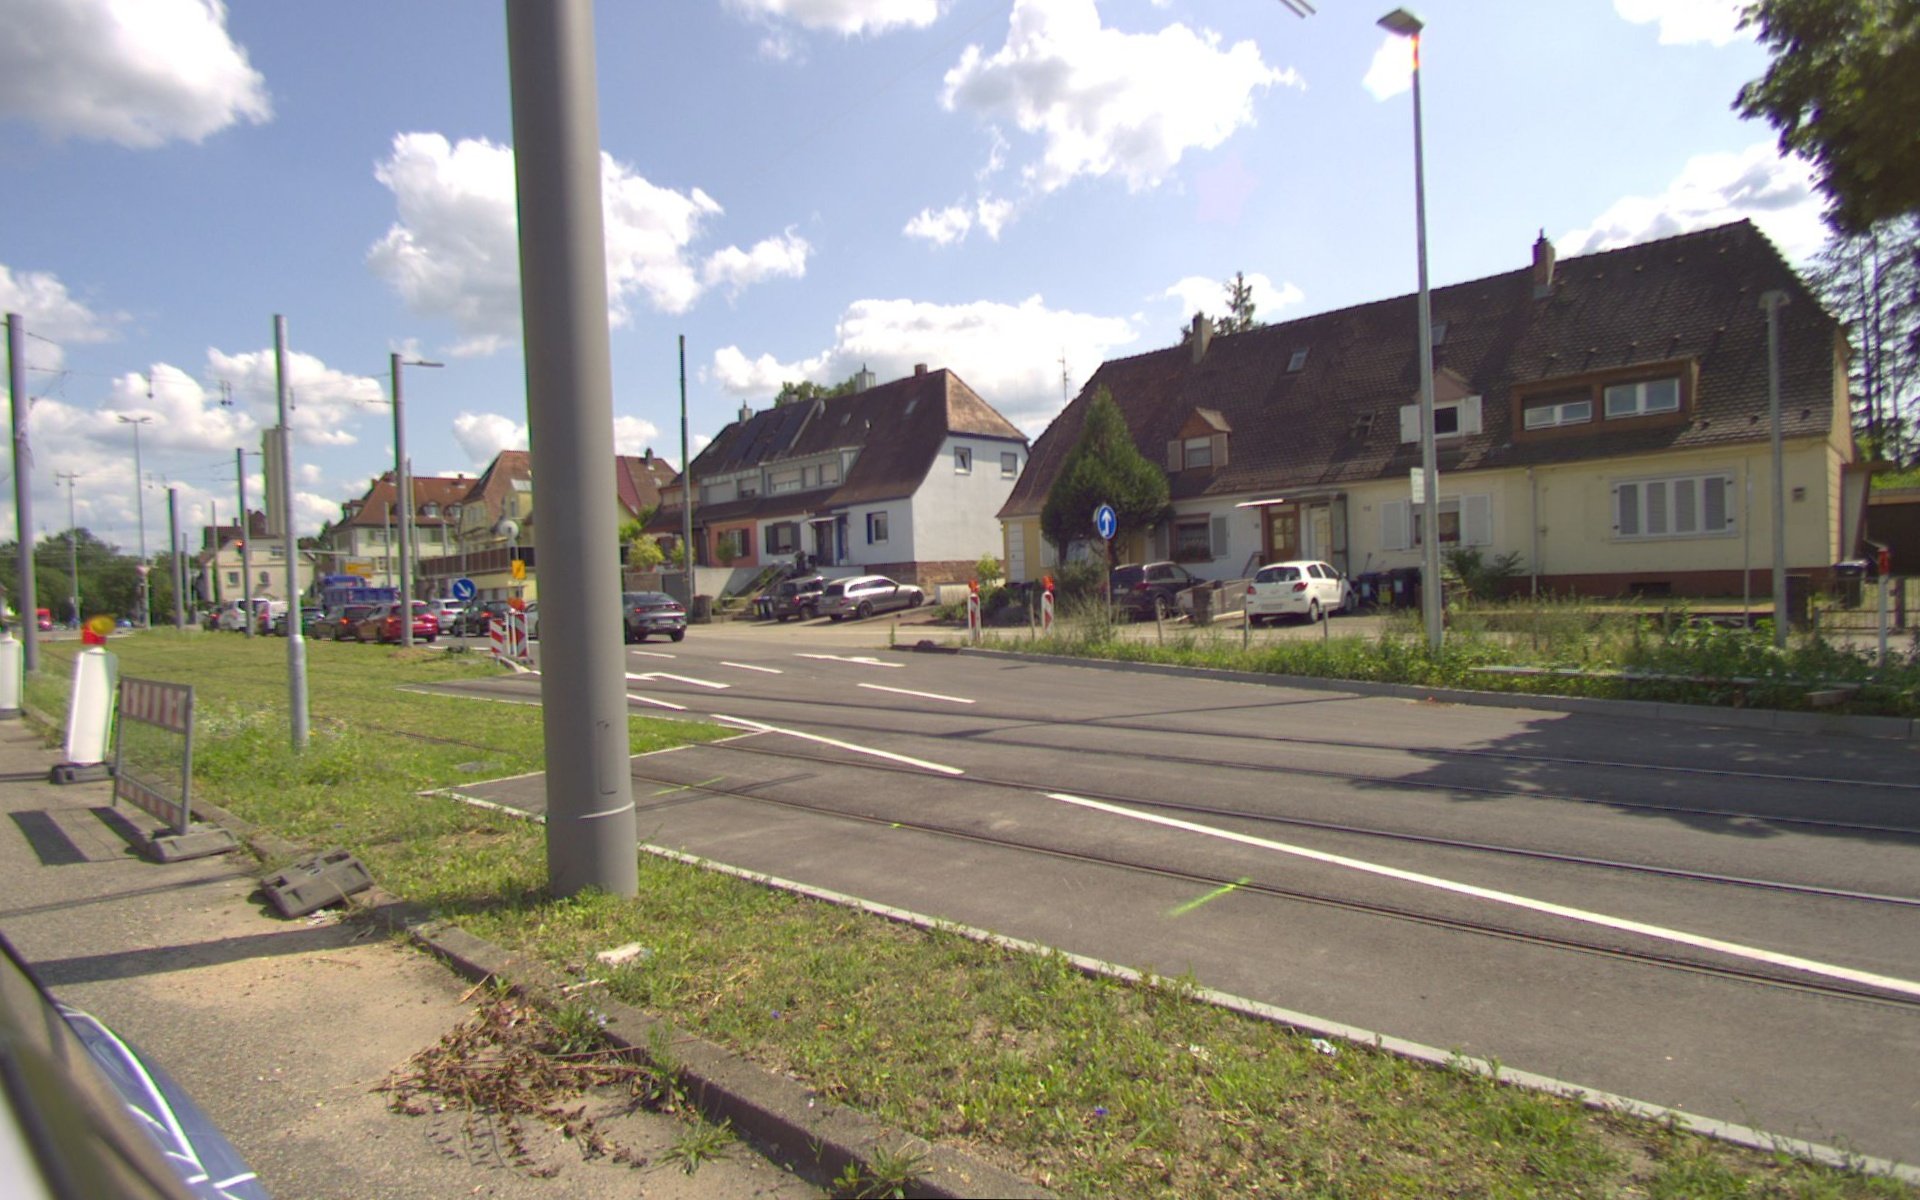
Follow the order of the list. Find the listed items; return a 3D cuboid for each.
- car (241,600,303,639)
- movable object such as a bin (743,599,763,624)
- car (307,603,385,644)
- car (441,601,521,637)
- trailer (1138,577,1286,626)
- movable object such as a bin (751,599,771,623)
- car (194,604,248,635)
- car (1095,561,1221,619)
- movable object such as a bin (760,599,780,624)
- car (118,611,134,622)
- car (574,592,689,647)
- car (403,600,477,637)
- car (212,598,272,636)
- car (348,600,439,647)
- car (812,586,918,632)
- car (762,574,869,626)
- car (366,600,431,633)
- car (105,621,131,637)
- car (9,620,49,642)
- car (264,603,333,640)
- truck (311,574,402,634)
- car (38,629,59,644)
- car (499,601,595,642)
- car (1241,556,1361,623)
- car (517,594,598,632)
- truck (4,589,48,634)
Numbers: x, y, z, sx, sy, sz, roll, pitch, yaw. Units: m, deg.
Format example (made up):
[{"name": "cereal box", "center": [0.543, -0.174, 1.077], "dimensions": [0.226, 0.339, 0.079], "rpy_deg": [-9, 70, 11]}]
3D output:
[{"name": "car", "center": [-35.474, 1.014, 52.119], "dimensions": [4.543, 1.868, 1.706], "rpy_deg": [-1, 1, 44]}, {"name": "movable object such as a bin", "center": [-8.432, 0.470, 41.165], "dimensions": [0.583, 0.959, 0.511], "rpy_deg": [-1, 1, 43]}, {"name": "car", "center": [-25.693, 0.957, 42.287], "dimensions": [1.706, 1.574, 4.647], "rpy_deg": [-3, 1, -45]}, {"name": "car", "center": [-19.921, 0.770, 42.001], "dimensions": [1.705, 1.344, 4.546], "rpy_deg": [-3, 1, -43]}, {"name": "trailer", "center": [6.965, 0.003, 27.600], "dimensions": [1.959, 1.133, 4.871], "rpy_deg": [-1, 1, 40]}, {"name": "movable object such as a bin", "center": [-8.009, 0.448, 40.764], "dimensions": [0.583, 0.959, 0.511], "rpy_deg": [-1, 1, 43]}, {"name": "car", "center": [-45.363, 1.191, 62.079], "dimensions": [4.543, 1.794, 1.896], "rpy_deg": [-1, 1, 44]}, {"name": "car", "center": [5.780, -0.312, 29.370], "dimensions": [1.707, 1.556, 3.840], "rpy_deg": [-1, 1, 45]}, {"name": "movable object such as a bin", "center": [-7.574, 0.457, 40.354], "dimensions": [0.610, 0.959, 0.511], "rpy_deg": [-1, 1, 43]}, {"name": "car", "center": [-136.402, 2.727, 165.454], "dimensions": [1.697, 1.603, 4.176], "rpy_deg": [-3, 1, -43]}, {"name": "car", "center": [-10.339, 0.589, 31.627], "dimensions": [1.704, 1.538, 4.778], "rpy_deg": [-3, 1, -40]}, {"name": "car", "center": [-24.143, 0.833, 46.915], "dimensions": [1.706, 1.574, 4.544], "rpy_deg": [-3, 1, -45]}, {"name": "car", "center": [-40.786, 0.974, 57.453], "dimensions": [4.543, 1.979, 1.896], "rpy_deg": [-1, 1, 44]}, {"name": "car", "center": [-20.898, 0.847, 37.257], "dimensions": [1.706, 1.574, 4.544], "rpy_deg": [-3, 1, -45]}, {"name": "car", "center": [-3.501, 0.314, 37.985], "dimensions": [1.681, 1.566, 3.838], "rpy_deg": [-1, 1, 41]}, {"name": "car", "center": [-5.649, -0.022, 39.899], "dimensions": [1.801, 1.859, 3.946], "rpy_deg": [-1, 1, 41]}, {"name": "car", "center": [-29.047, 0.851, 52.296], "dimensions": [4.543, 1.574, 1.706], "rpy_deg": [-1, 1, 44]}, {"name": "car", "center": [-103.295, 3.540, 124.224], "dimensions": [2.250, 1.886, 4.995], "rpy_deg": [-3, 1, -38]}, {"name": "car", "center": [-88.793, 2.942, 96.541], "dimensions": [4.983, 1.886, 2.255], "rpy_deg": [-1, 1, 41]}, {"name": "car", "center": [-30.958, 1.009, 47.296], "dimensions": [4.543, 1.574, 1.706], "rpy_deg": [-1, 1, 44]}, {"name": "truck", "center": [-34.531, 0.252, 57.775], "dimensions": [2.802, 3.177, 7.942], "rpy_deg": [-3, 1, -43]}, {"name": "car", "center": [-127.255, 5.071, 141.335], "dimensions": [2.030, 2.023, 4.955], "rpy_deg": [-2, 1, -42]}, {"name": "car", "center": [-15.087, 0.764, 36.824], "dimensions": [1.705, 1.344, 4.546], "rpy_deg": [-3, 1, -43]}, {"name": "car", "center": [8.713, -0.292, 25.685], "dimensions": [1.757, 1.556, 3.915], "rpy_deg": [-2, 1, 36]}, {"name": "car", "center": [-18.035, 0.597, 45.259], "dimensions": [1.706, 1.574, 4.544], "rpy_deg": [-3, 1, -45]}, {"name": "truck", "center": [-117.280, 1.424, 127.266], "dimensions": [3.425, 5.222, 14.238], "rpy_deg": [-3, 1, -41]}]
